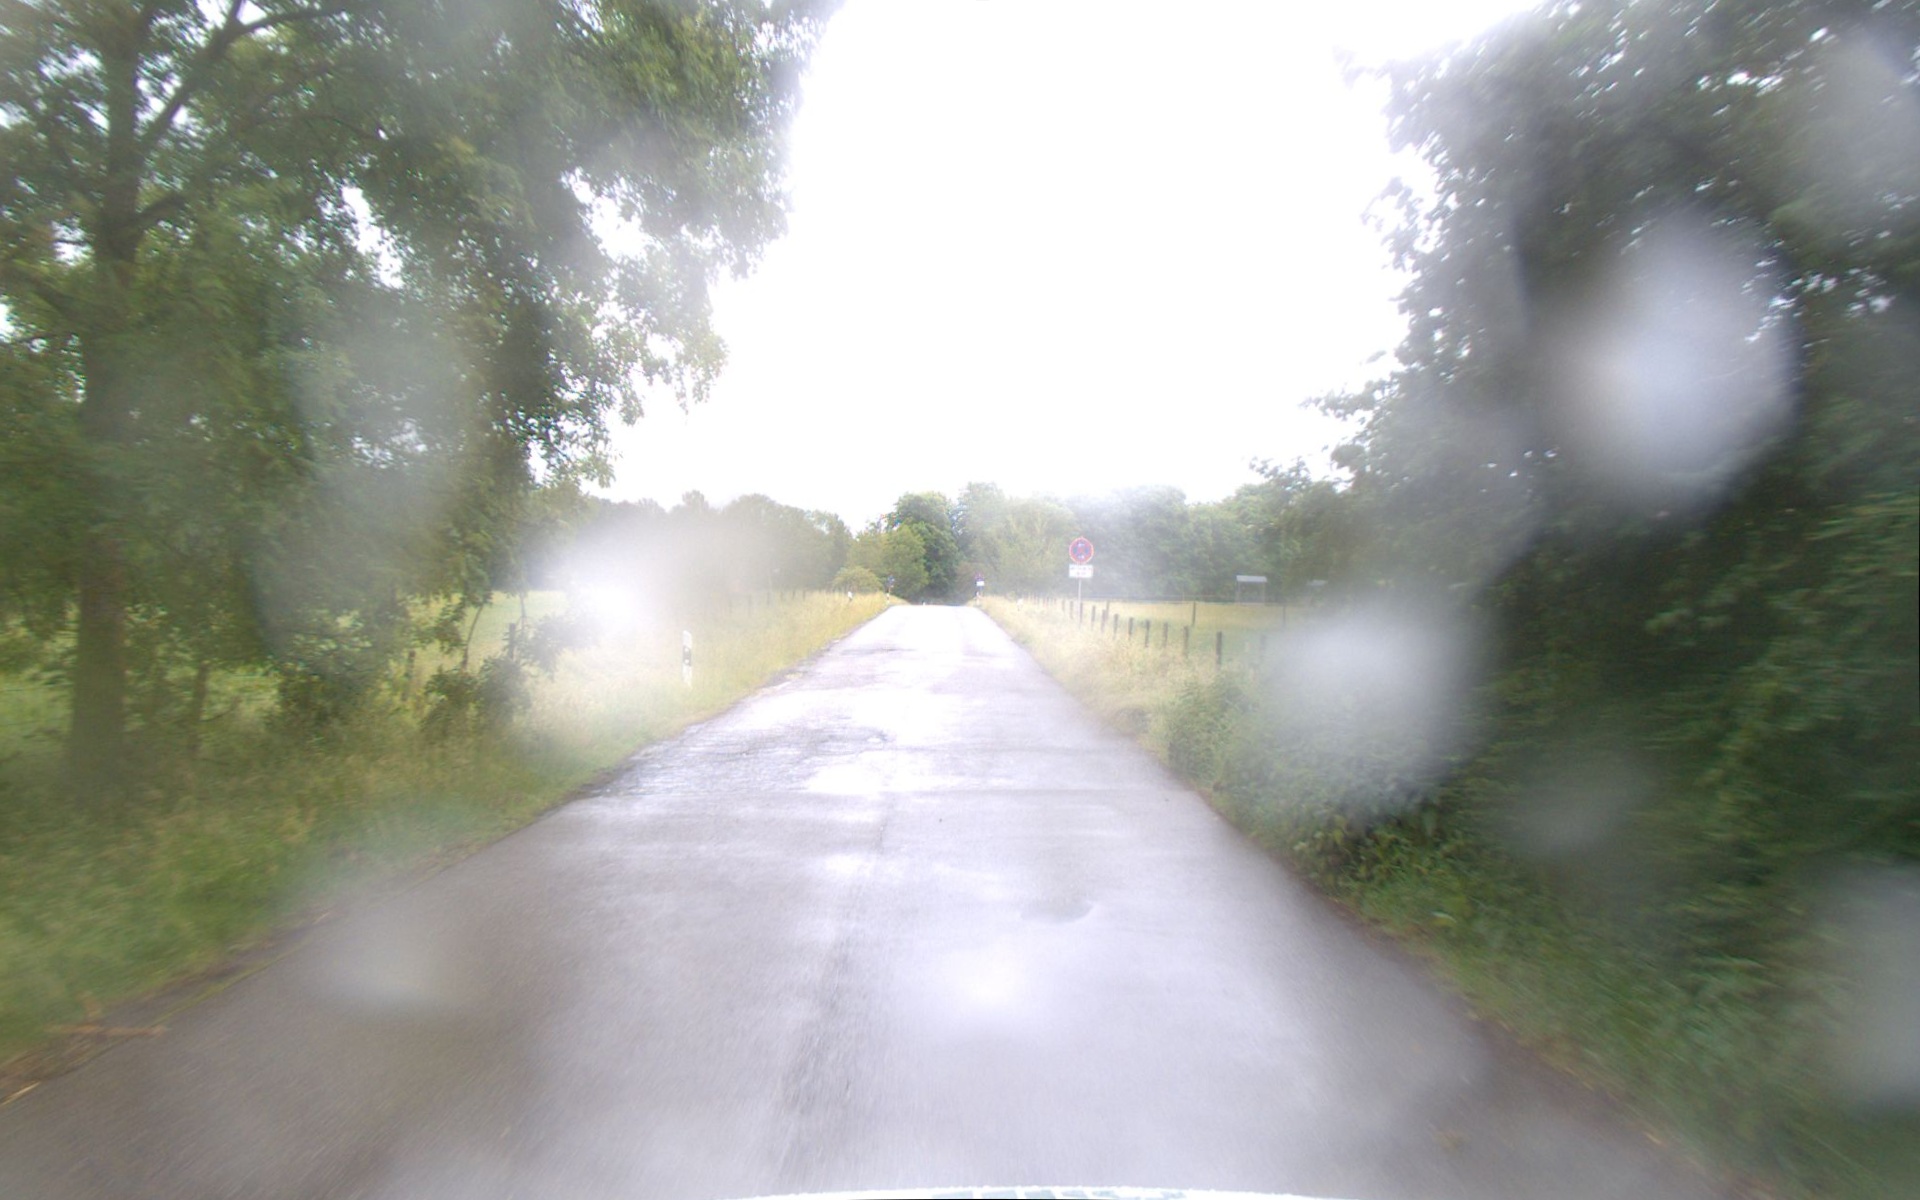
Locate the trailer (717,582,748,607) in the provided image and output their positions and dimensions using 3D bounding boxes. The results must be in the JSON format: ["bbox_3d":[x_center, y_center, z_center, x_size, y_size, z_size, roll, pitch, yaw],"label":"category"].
[{"bbox_3d":[-14.196,-0.372,103.081,1.720,1.531,3.082,1,0,-11],"label":"trailer"}]
